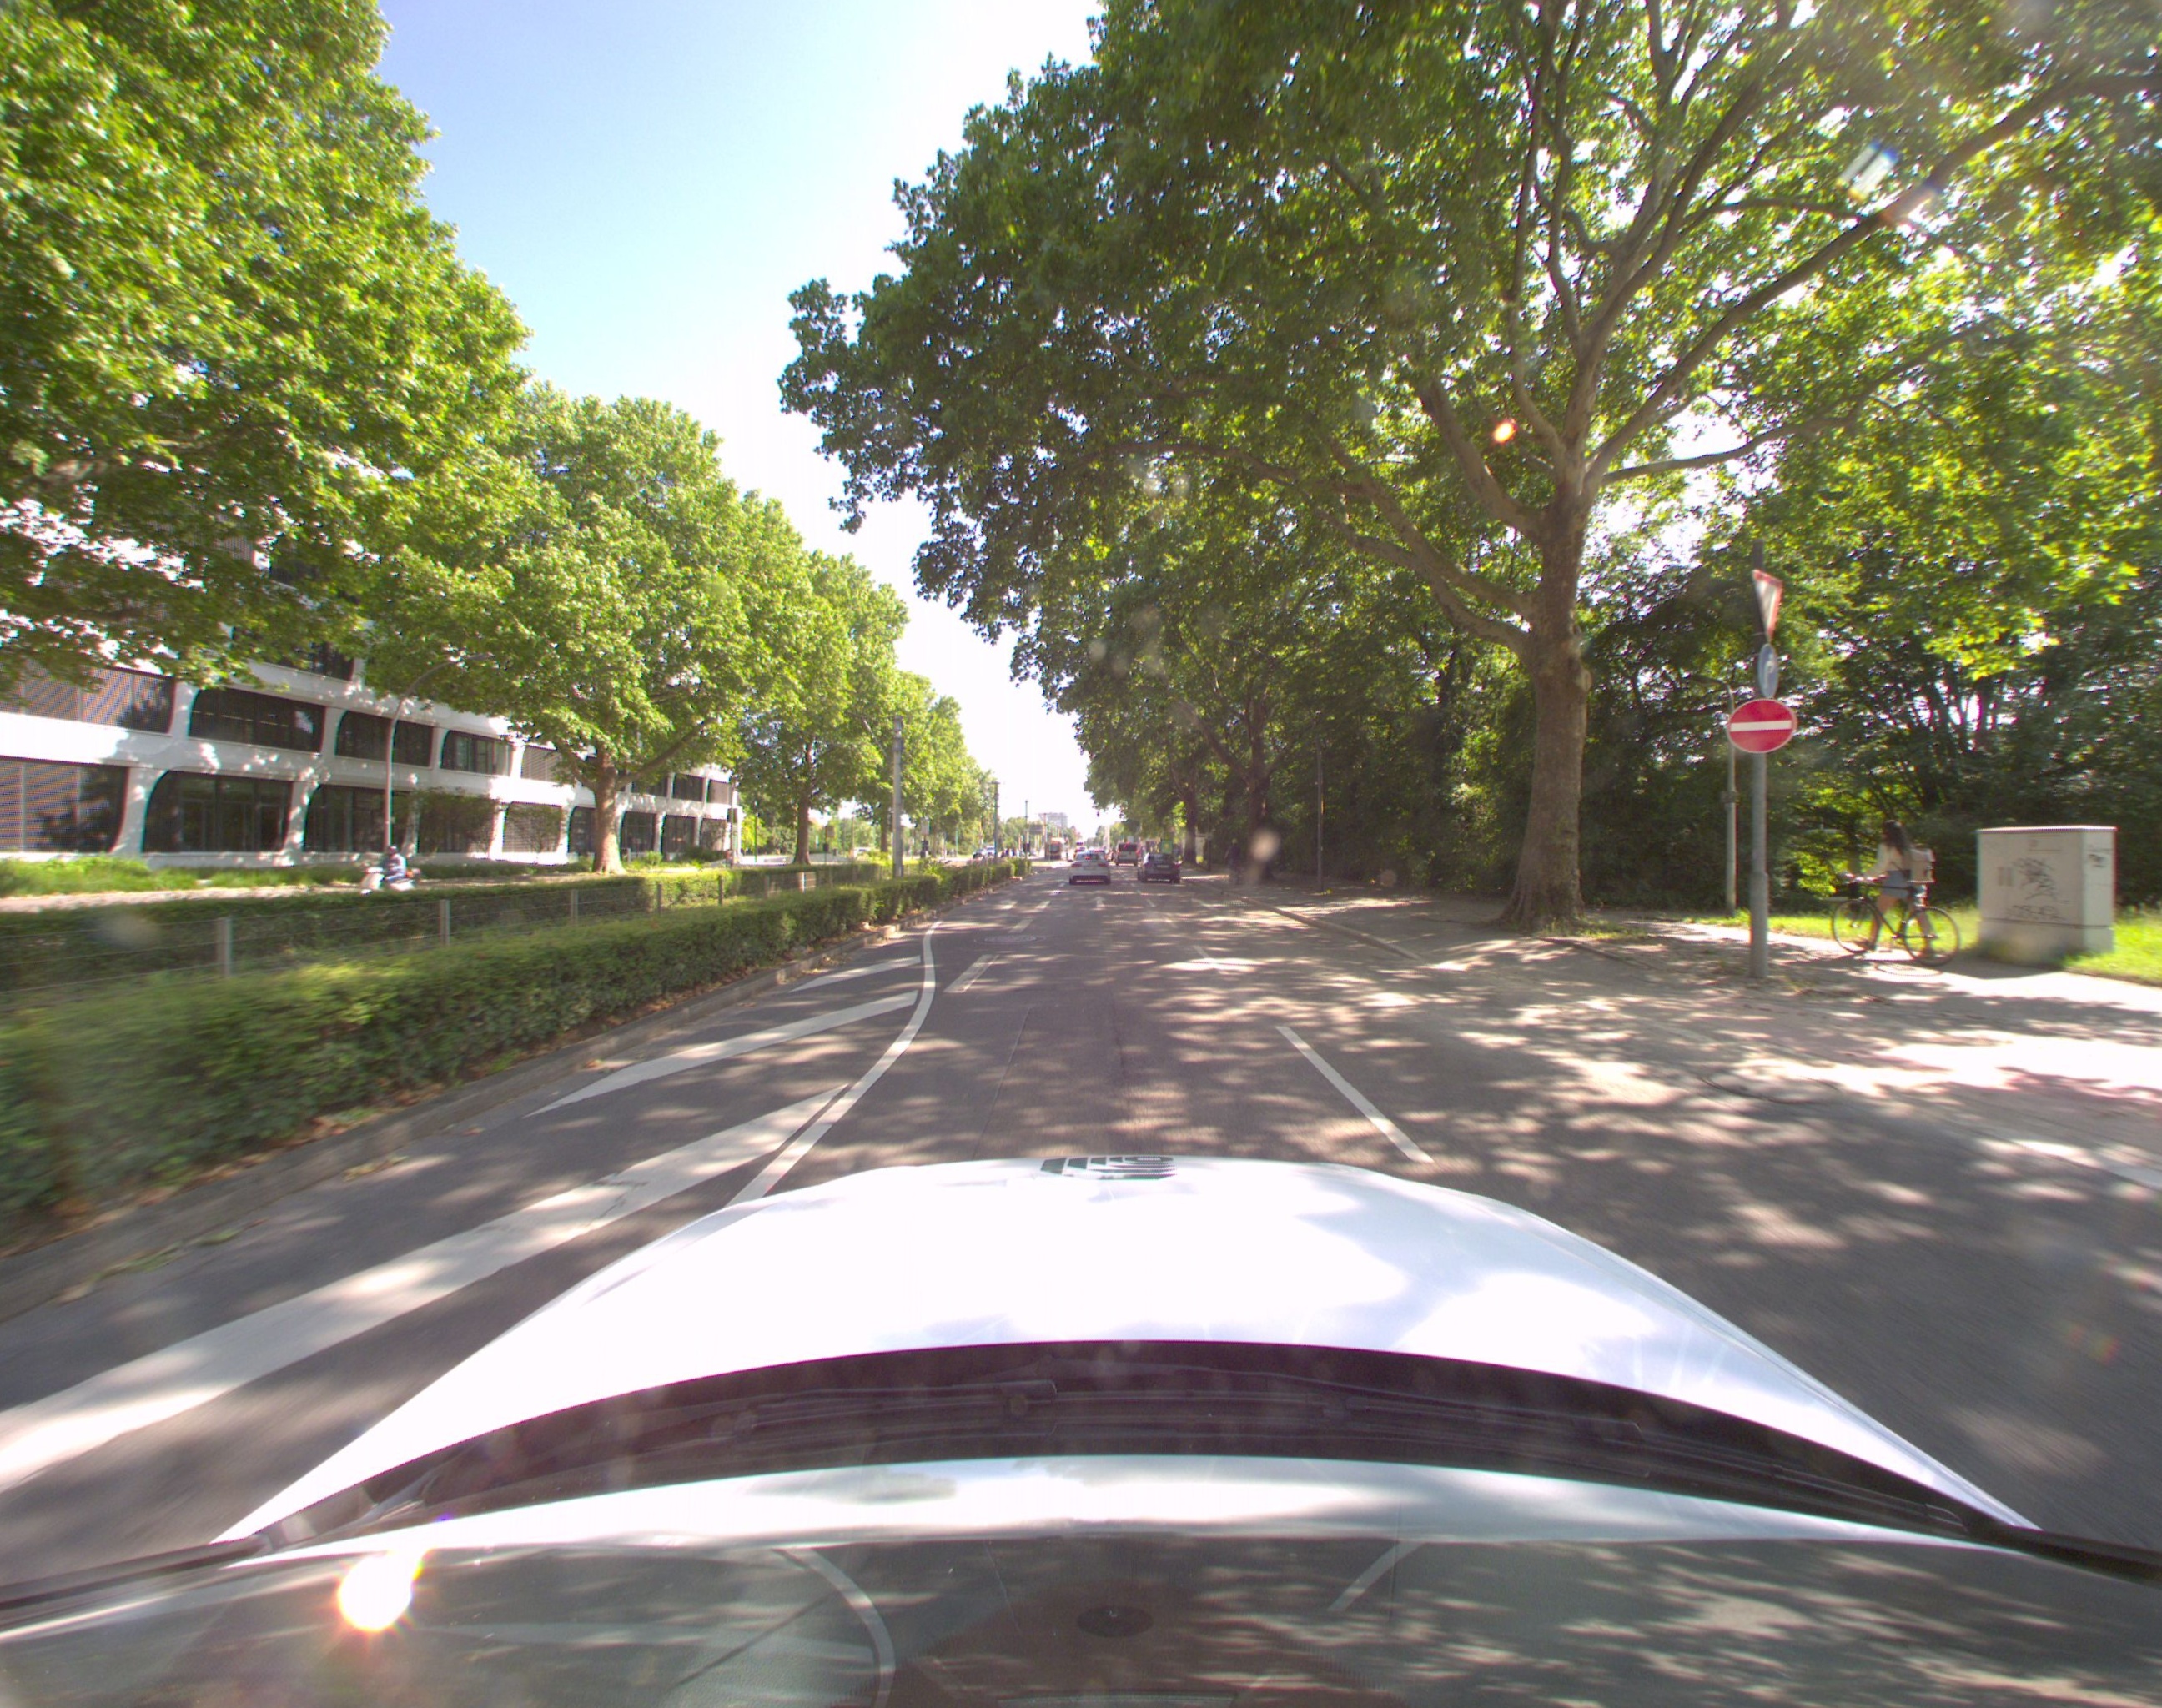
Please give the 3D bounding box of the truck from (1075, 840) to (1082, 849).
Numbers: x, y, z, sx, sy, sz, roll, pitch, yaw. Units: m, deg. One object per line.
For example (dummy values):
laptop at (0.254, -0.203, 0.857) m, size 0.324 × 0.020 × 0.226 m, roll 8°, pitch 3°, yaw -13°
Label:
truck at (-0.733, -3.092, 261.995) m, size 1.986 × 2.790 × 8.522 m, roll 0°, pitch 0°, yaw 2°

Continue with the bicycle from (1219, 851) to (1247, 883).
bicycle at (6.234, 0.498, 33.466) m, size 0.712 × 1.148 × 2.179 m, roll -2°, pitch 2°, yaw 0°

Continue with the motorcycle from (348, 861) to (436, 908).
motorcycle at (-18.601, 0.802, 22.048) m, size 0.630 × 1.175 × 2.000 m, roll 0°, pitch 0°, yaw 1°

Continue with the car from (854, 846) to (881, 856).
car at (-35.317, -0.529, 134.719) m, size 3.833 × 1.549 × 1.770 m, roll 0°, pitch 0°, yaw 1°

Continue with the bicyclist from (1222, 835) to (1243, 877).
bicyclist at (6.213, 0.079, 33.351) m, size 0.632 × 1.648 × 0.979 m, roll -2°, pitch 2°, yaw 0°

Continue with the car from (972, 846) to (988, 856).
car at (-16.491, -0.539, 133.209) m, size 1.823 × 1.624 × 4.898 m, roll 0°, pitch 0°, yaw 1°

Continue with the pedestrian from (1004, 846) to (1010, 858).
pedestrian at (-9.712, -0.247, 106.824) m, size 0.590 × 1.646 × 0.554 m, roll 0°, pitch 0°, yaw 1°

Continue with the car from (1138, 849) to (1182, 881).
car at (3.733, 0.485, 39.034) m, size 1.776 × 1.420 × 4.001 m, roll 0°, pitch 0°, yaw 1°

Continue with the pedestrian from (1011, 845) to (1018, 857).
pedestrian at (-9.270, -0.419, 113.678) m, size 0.770 × 1.734 × 0.756 m, roll 0°, pitch 0°, yaw 10°

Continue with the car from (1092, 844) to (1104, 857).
car at (2.471, -0.521, 116.625) m, size 1.723 × 1.901 × 4.001 m, roll 0°, pitch 0°, yaw 1°

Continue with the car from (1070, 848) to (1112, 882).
car at (0.467, 0.450, 36.169) m, size 1.778 × 1.420 × 3.886 m, roll 0°, pitch 0°, yaw 1°

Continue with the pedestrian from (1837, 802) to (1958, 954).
pedestrian at (10.062, 0.282, 10.070) m, size 0.630 × 1.785 × 0.874 m, roll 0°, pitch 0°, yaw 1°

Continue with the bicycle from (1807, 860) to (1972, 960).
bicycle at (9.747, 0.630, 9.905) m, size 0.348 × 1.082 × 1.699 m, roll 0°, pitch 0°, yaw 1°

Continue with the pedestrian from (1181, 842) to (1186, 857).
pedestrian at (12.950, -0.552, 102.973) m, size 0.611 × 1.896 × 0.694 m, roll 0°, pitch 0°, yaw -2°

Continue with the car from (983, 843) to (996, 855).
car at (-18.771, -1.074, 167.494) m, size 2.106 × 2.382 × 4.002 m, roll 0°, pitch 0°, yaw 2°

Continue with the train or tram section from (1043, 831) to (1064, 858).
train or tram section at (-4.179, -1.435, 124.891) m, size 2.607 × 4.015 × 7.752 m, roll 0°, pitch 0°, yaw 2°

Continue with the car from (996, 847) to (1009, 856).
car at (-13.399, -0.458, 138.909) m, size 1.804 × 1.563 × 4.305 m, roll 0°, pitch 0°, yaw 1°

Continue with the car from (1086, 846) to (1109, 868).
car at (1.288, 0.199, 62.082) m, size 1.723 × 1.605 × 3.886 m, roll 0°, pitch 0°, yaw 1°

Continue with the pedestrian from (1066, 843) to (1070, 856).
pedestrian at (-1.988, -0.675, 123.697) m, size 0.621 × 1.918 × 0.690 m, roll 0°, pitch 0°, yaw 2°

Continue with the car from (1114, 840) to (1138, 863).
car at (4.364, -0.268, 78.975) m, size 2.222 × 2.211 × 4.163 m, roll 0°, pitch 0°, yaw 1°

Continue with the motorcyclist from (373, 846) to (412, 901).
motorcyclist at (-18.612, 0.522, 22.021) m, size 0.579 × 1.457 × 0.533 m, roll 0°, pitch 0°, yaw 1°

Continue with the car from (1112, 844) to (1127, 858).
car at (5.477, -0.488, 117.247) m, size 2.064 × 1.999 × 4.059 m, roll 0°, pitch 0°, yaw 1°

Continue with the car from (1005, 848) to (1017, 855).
car at (-13.407, -0.491, 157.063) m, size 1.790 × 1.488 × 4.387 m, roll 0°, pitch 0°, yaw 2°

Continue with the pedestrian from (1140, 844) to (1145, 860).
pedestrian at (7.580, -0.273, 100.792) m, size 0.633 × 1.946 × 0.719 m, roll 0°, pitch 0°, yaw 2°

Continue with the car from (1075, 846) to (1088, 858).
car at (0.098, -0.289, 115.959) m, size 1.723 × 1.631 × 4.001 m, roll 0°, pitch 0°, yaw 1°

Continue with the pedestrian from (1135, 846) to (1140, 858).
pedestrian at (7.914, -0.304, 113.719) m, size 0.600 × 1.694 × 0.954 m, roll -2°, pitch 0°, yaw 1°

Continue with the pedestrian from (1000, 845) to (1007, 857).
pedestrian at (-9.821, -0.372, 103.594) m, size 0.761 × 1.623 × 0.590 m, roll 0°, pitch 0°, yaw -24°

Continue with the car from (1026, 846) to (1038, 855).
car at (-9.836, -0.641, 163.428) m, size 1.986 × 1.734 × 4.002 m, roll 0°, pitch 0°, yaw 2°

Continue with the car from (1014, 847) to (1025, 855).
car at (-12.763, -0.719, 170.406) m, size 1.864 × 1.609 × 4.002 m, roll 0°, pitch 0°, yaw 2°
